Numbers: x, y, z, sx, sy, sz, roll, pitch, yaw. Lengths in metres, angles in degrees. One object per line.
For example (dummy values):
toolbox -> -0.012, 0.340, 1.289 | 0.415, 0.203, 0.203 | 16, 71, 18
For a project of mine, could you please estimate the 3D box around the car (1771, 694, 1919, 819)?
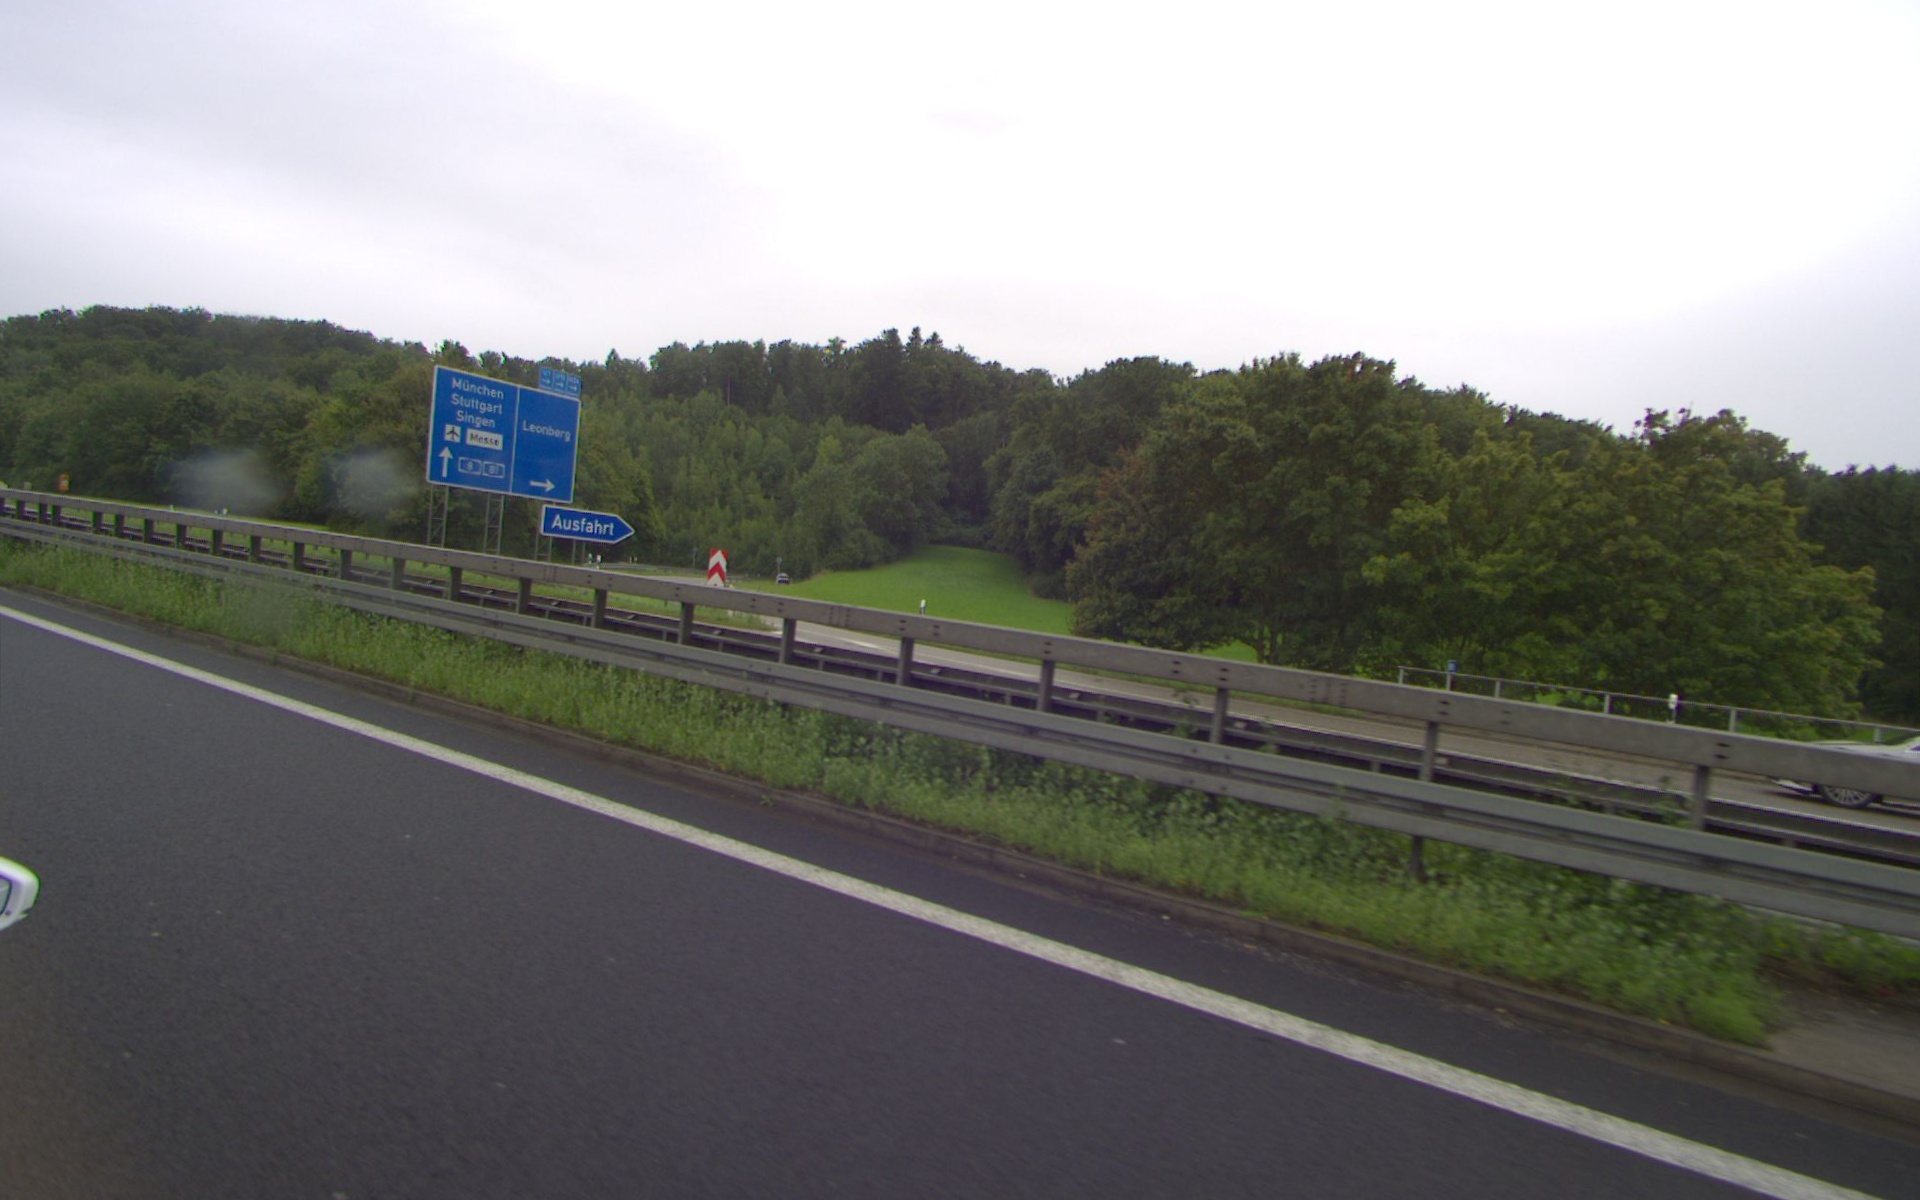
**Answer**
car -> 14.207, 2.375, 13.819 | 4.642, 1.472, 1.897 | 6, -1, 40
